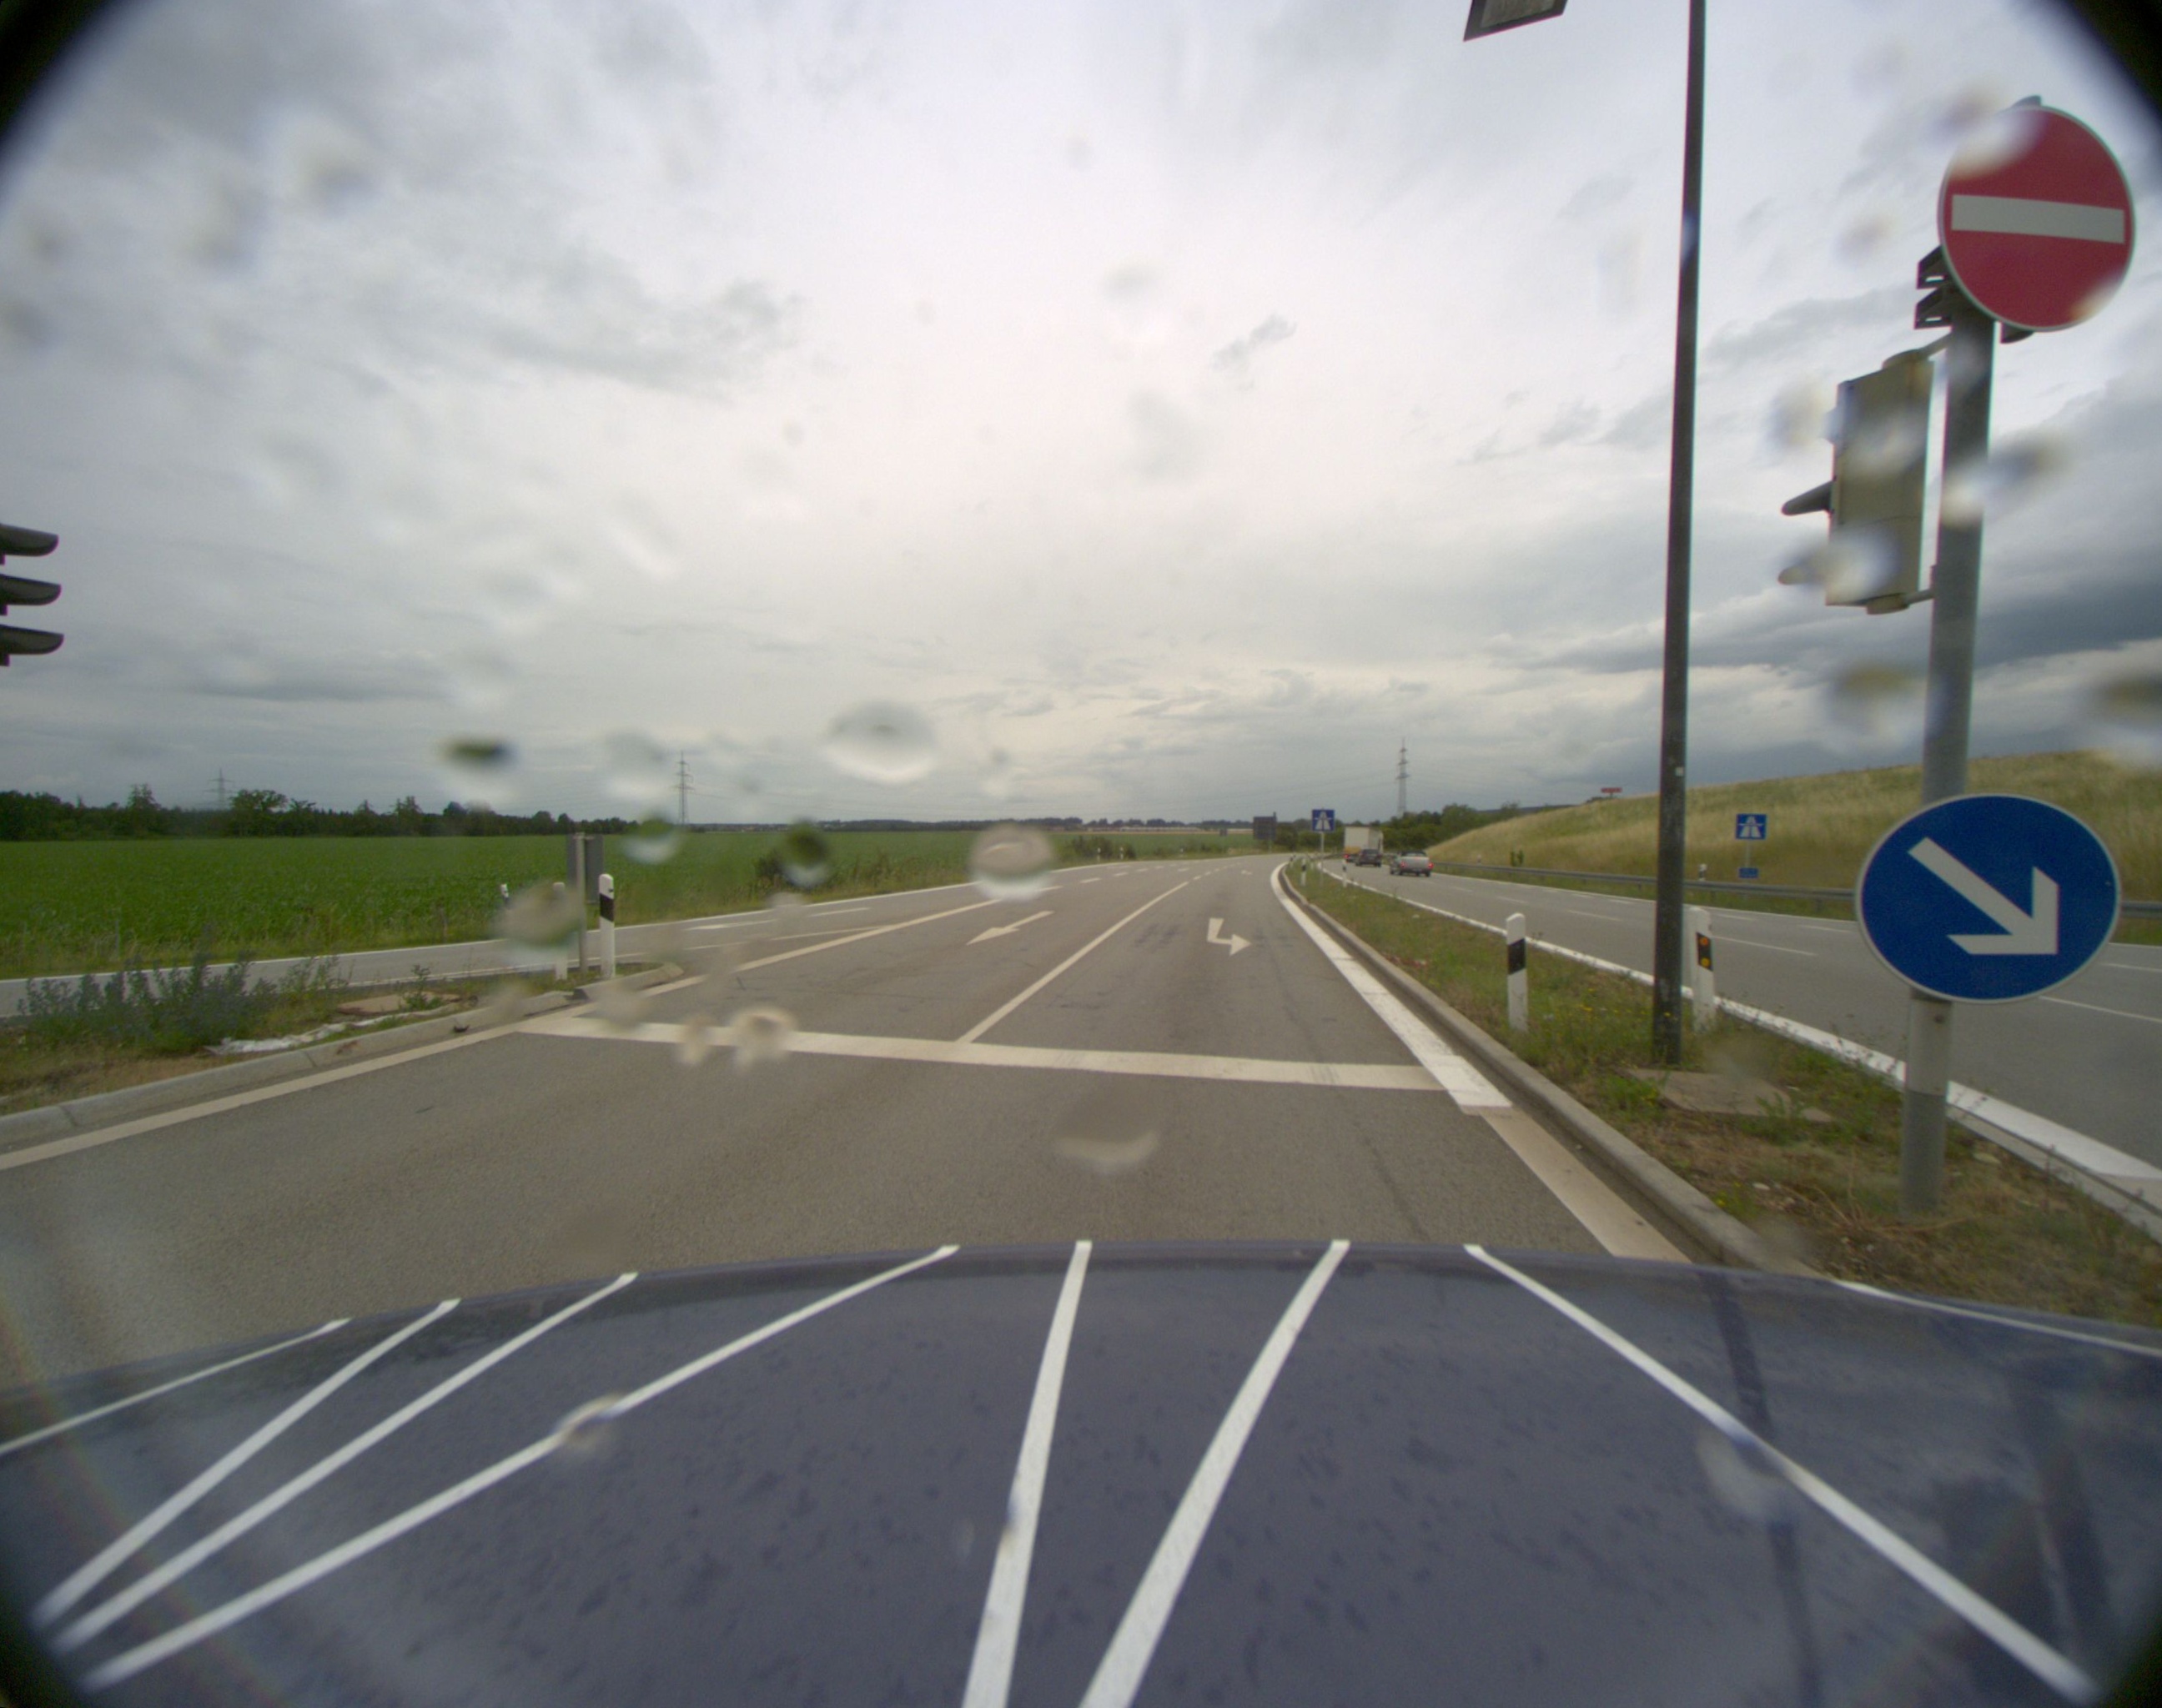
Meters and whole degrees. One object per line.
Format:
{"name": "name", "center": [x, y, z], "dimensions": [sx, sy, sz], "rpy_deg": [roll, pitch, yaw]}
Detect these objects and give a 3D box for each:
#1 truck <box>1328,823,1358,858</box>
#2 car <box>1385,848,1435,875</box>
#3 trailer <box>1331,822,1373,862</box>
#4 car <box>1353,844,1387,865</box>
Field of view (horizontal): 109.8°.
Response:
{"name": "truck", "center": [32.318, -1.675, 93.854], "dimensions": [2.653, 4.118, 6.408], "rpy_deg": [1, 2, 12]}
{"name": "car", "center": [19.281, 0.410, 44.686], "dimensions": [1.813, 1.511, 4.246], "rpy_deg": [0, 0, 11]}
{"name": "trailer", "center": [30.844, -1.491, 87.078], "dimensions": [2.696, 4.187, 13.850], "rpy_deg": [1, 2, 12]}
{"name": "car", "center": [25.080, 0.022, 66.064], "dimensions": [1.997, 1.684, 4.457], "rpy_deg": [1, 2, 11]}
